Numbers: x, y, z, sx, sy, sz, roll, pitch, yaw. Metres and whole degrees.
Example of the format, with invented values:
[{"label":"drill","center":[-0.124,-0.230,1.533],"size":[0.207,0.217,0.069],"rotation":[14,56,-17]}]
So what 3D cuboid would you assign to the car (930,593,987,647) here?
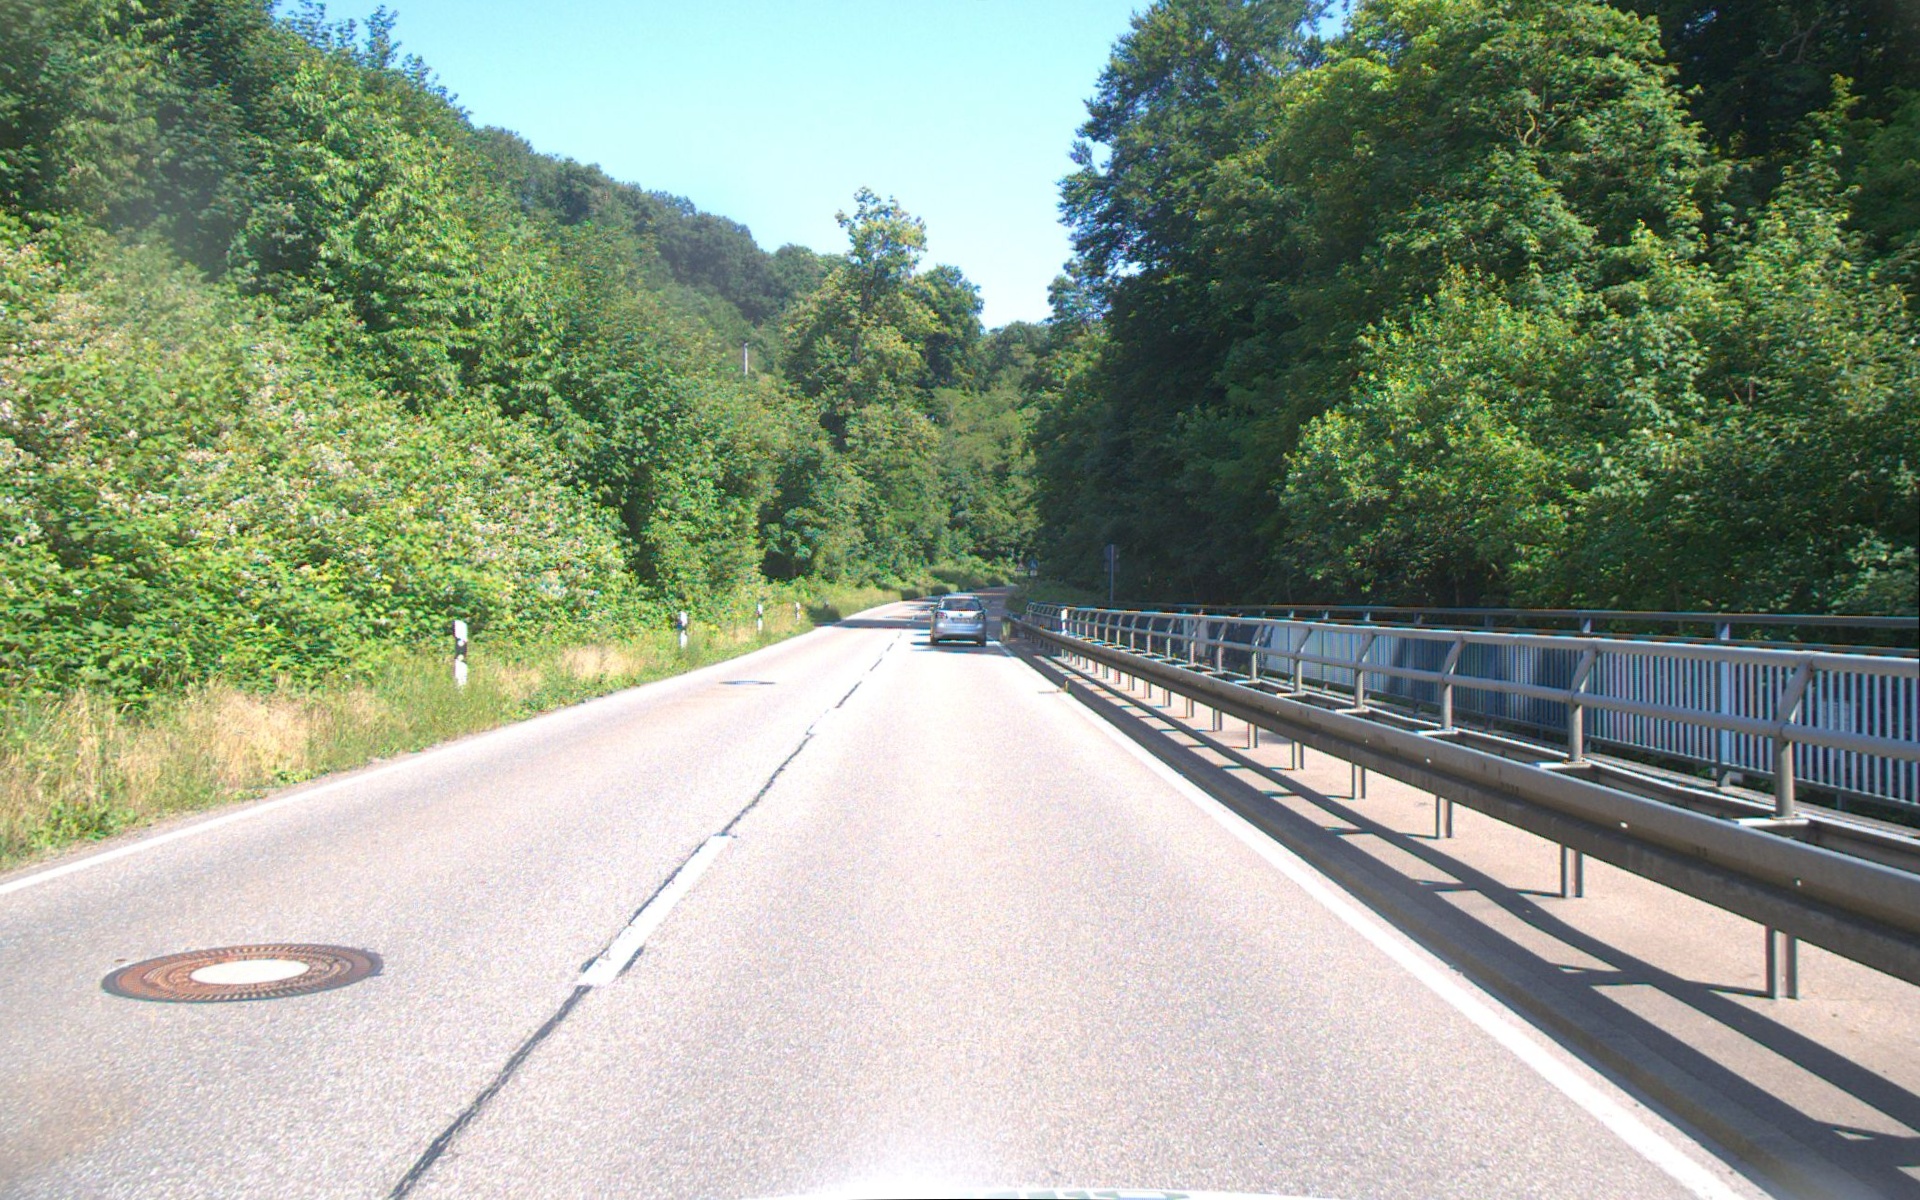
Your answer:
[{"label":"car","center":[-0.079,0.592,52.681],"size":[1.715,1.546,4.159],"rotation":[1,1,-1]}]
